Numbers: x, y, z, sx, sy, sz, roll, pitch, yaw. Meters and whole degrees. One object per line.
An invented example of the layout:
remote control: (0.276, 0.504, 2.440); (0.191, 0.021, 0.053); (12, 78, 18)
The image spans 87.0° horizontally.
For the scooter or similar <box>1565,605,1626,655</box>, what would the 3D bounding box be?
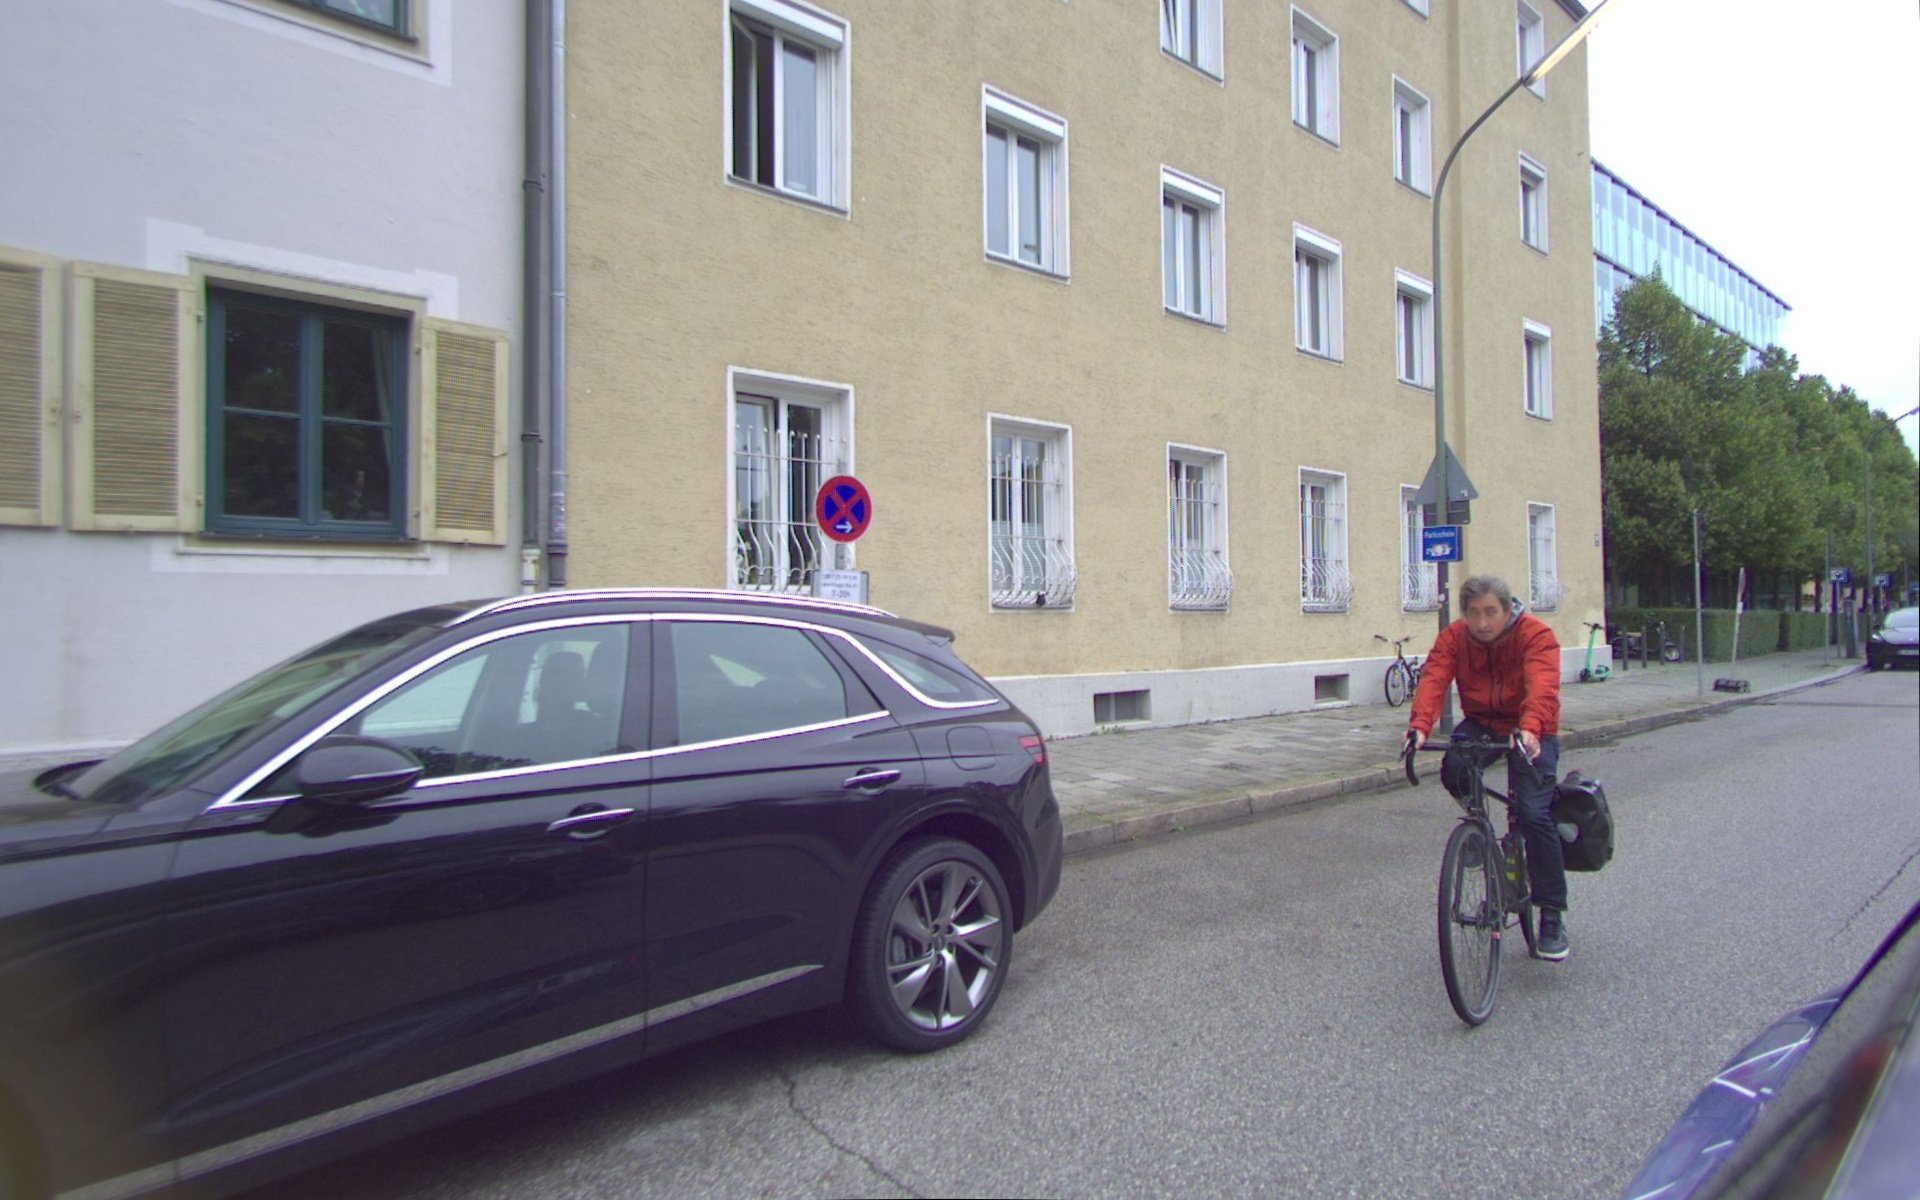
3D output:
scooter or similar: (18.022, 0.831, 28.703); (0.659, 1.318, 1.349); (-2, 2, -43)

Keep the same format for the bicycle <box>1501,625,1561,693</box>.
bicycle: (10.159, 1.021, 17.991); (1.728, 1.150, 0.342); (1, -1, -40)

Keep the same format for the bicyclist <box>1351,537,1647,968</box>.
bicyclist: (2.216, 0.542, 4.154); (0.965, 1.502, 0.755); (1, -3, -44)

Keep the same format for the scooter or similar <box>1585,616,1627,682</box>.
scooter or similar: (13.010, 0.976, 20.375); (1.286, 1.271, 0.342); (0, 0, -40)

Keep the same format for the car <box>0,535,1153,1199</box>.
car: (-1.574, 0.680, 3.428); (4.815, 1.597, 1.863); (0, -1, -42)

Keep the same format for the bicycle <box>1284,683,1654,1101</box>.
bicycle: (2.121, 0.973, 4.063); (1.977, 1.156, 0.672); (0, -3, -44)

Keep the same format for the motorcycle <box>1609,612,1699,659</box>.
motorcycle: (18.826, 0.942, 27.493); (0.695, 1.147, 1.899); (0, 1, -38)

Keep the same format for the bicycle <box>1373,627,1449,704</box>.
bicycle: (7.059, 0.996, 15.797); (1.781, 1.095, 0.342); (0, 1, -40)

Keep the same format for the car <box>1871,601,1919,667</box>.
car: (25.910, 0.847, 26.617); (5.006, 1.652, 1.998); (0, -3, -38)
